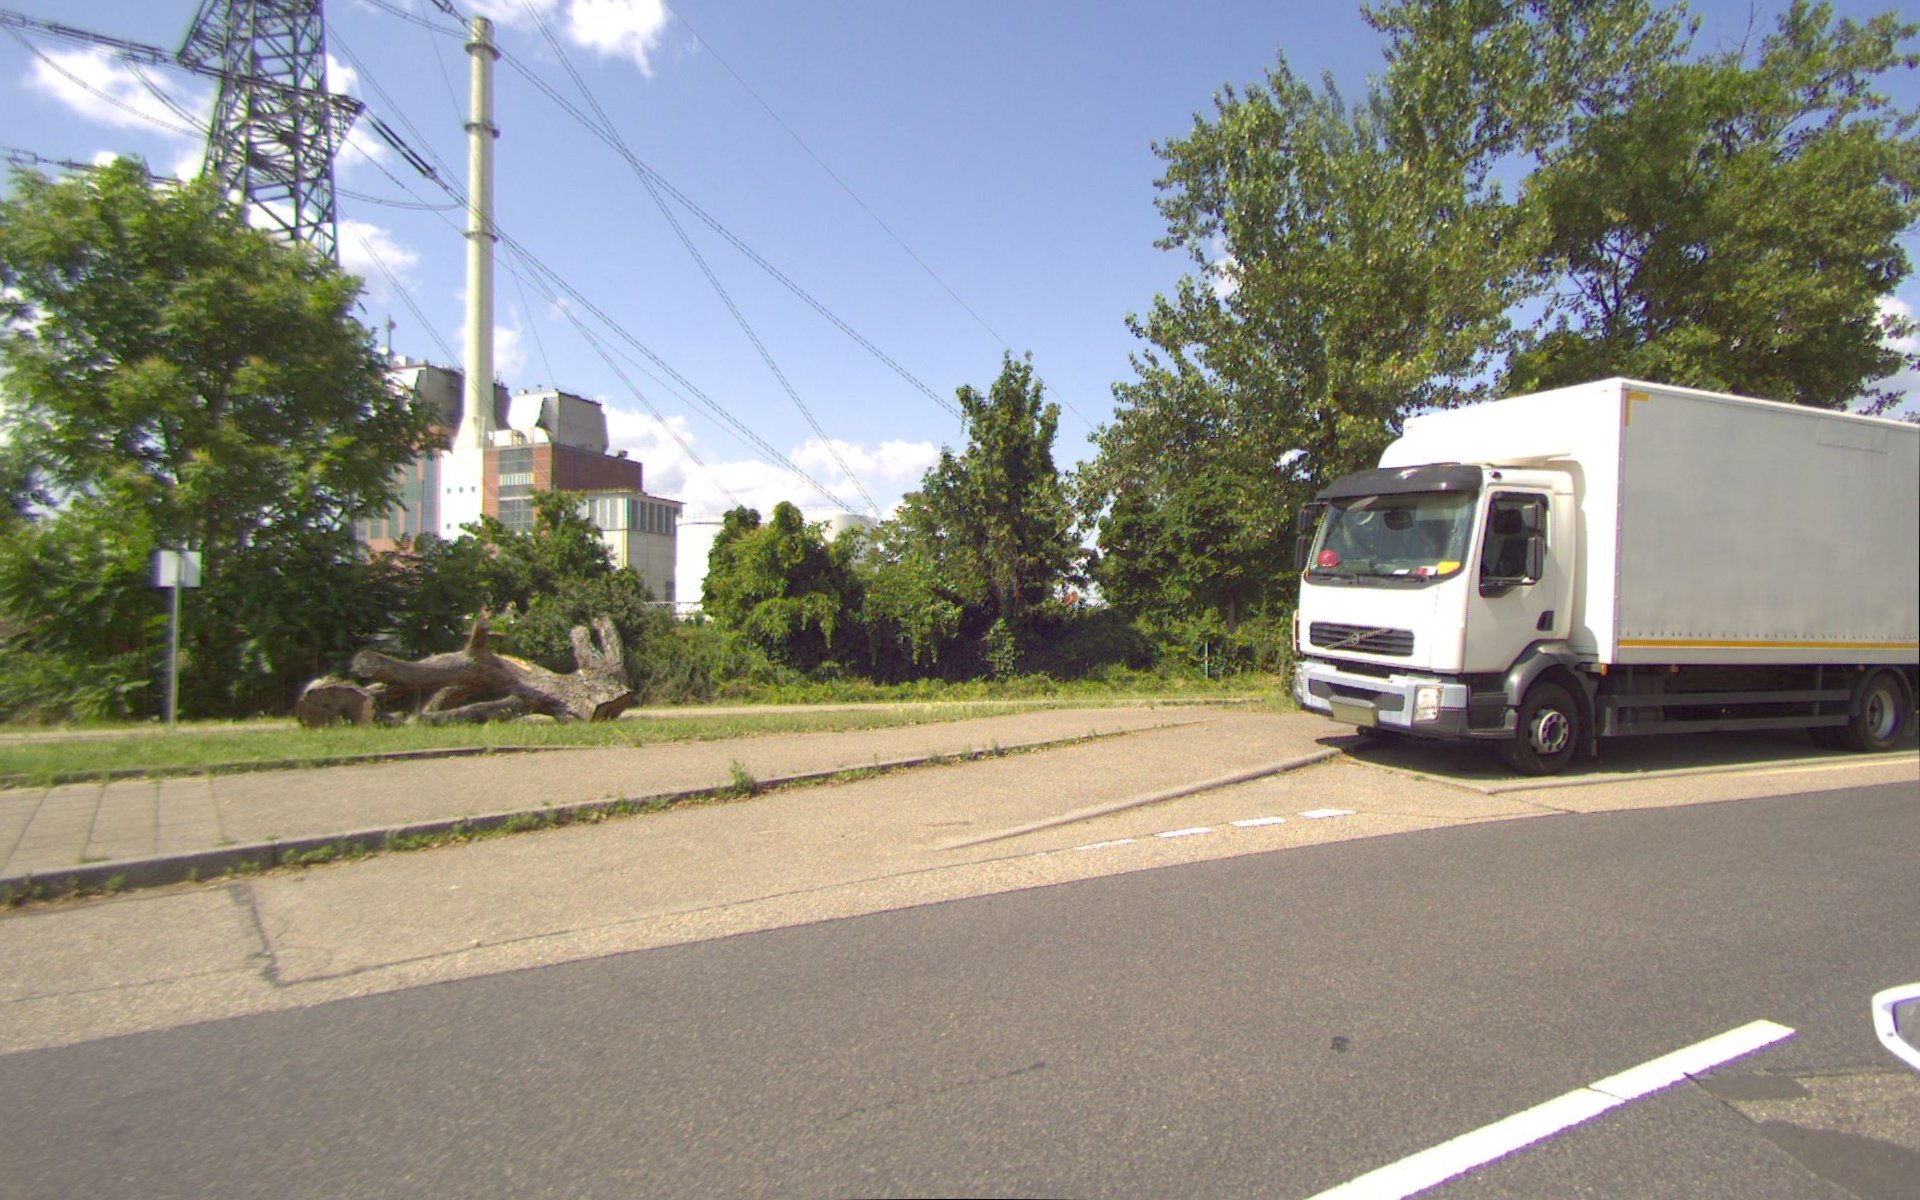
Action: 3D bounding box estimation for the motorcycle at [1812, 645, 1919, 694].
[{"bbox_3d":[20.929,1.583,23.056,2.208,1.100,0.742,0,-1,-4],"label":"motorcycle"}]

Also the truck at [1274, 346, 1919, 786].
[{"bbox_3d":[7.972,-0.252,11.040,9.228,3.615,2.317,0,0,-22],"label":"truck"}]
